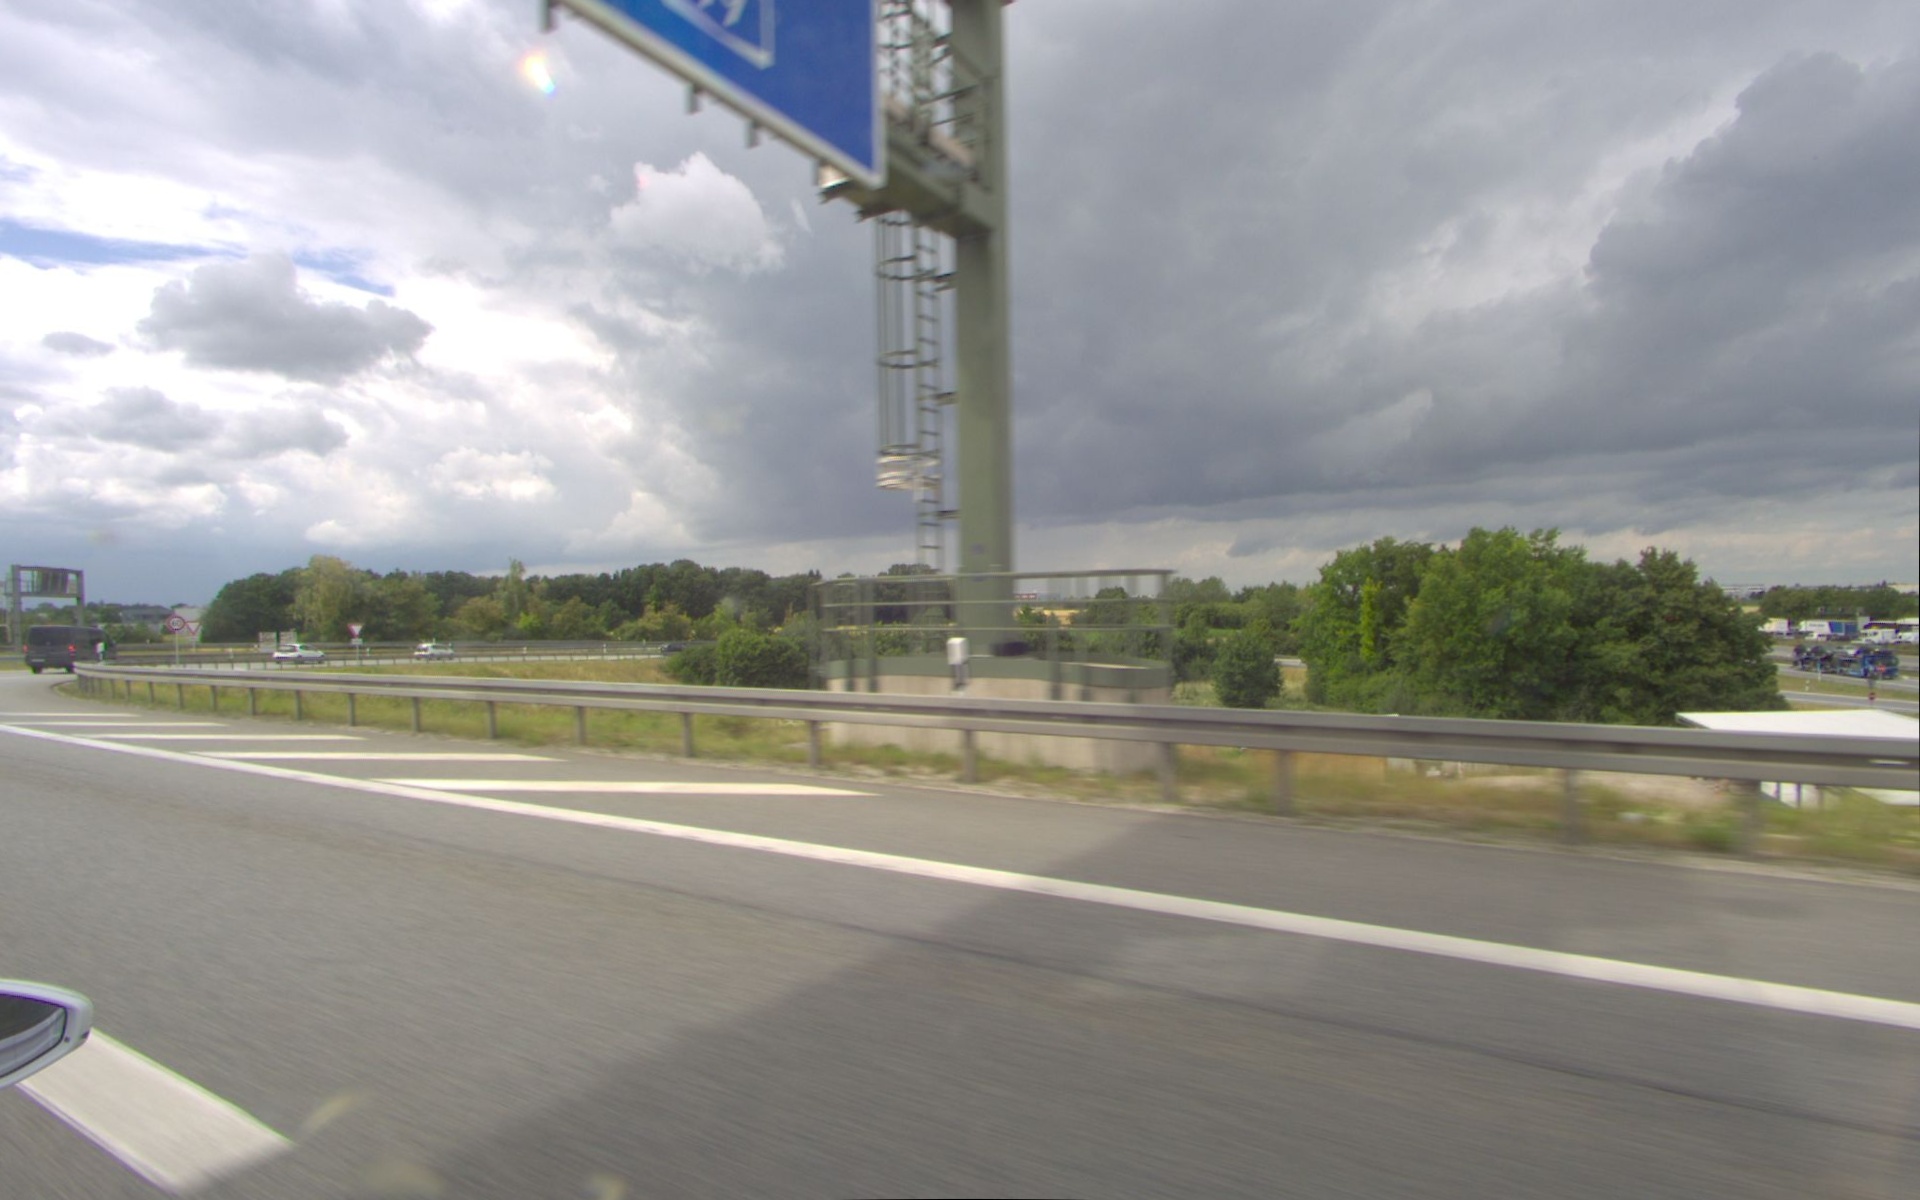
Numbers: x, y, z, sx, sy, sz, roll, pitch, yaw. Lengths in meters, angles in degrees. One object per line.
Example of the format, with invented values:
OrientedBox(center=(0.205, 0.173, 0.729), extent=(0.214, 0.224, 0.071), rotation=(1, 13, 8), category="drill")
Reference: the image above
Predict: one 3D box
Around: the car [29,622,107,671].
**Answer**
OrientedBox(center=(-44.893, 2.299, 50.495), extent=(1.885, 2.291, 4.626), rotation=(1, -1, -29), category="car")

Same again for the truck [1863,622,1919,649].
OrientedBox(center=(176.471, 6.638, 187.978), extent=(4.011, 4.883, 15.338), rotation=(1, -1, 16), category="truck")

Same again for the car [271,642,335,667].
OrientedBox(center=(-50.218, 4.144, 76.627), extent=(1.961, 1.731, 4.000), rotation=(1, -1, 7), category="car")

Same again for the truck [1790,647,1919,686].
OrientedBox(center=(111.770, 8.136, 125.773), extent=(3.921, 4.112, 19.030), rotation=(0, -1, 15), category="truck")

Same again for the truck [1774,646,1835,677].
OrientedBox(center=(114.462, 8.289, 135.857), extent=(3.791, 4.042, 6.415), rotation=(-1, -1, 15), category="truck")

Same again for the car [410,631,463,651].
OrientedBox(center=(-47.729, 3.717, 91.427), extent=(1.965, 1.731, 3.993), rotation=(1, -1, 20), category="car")
